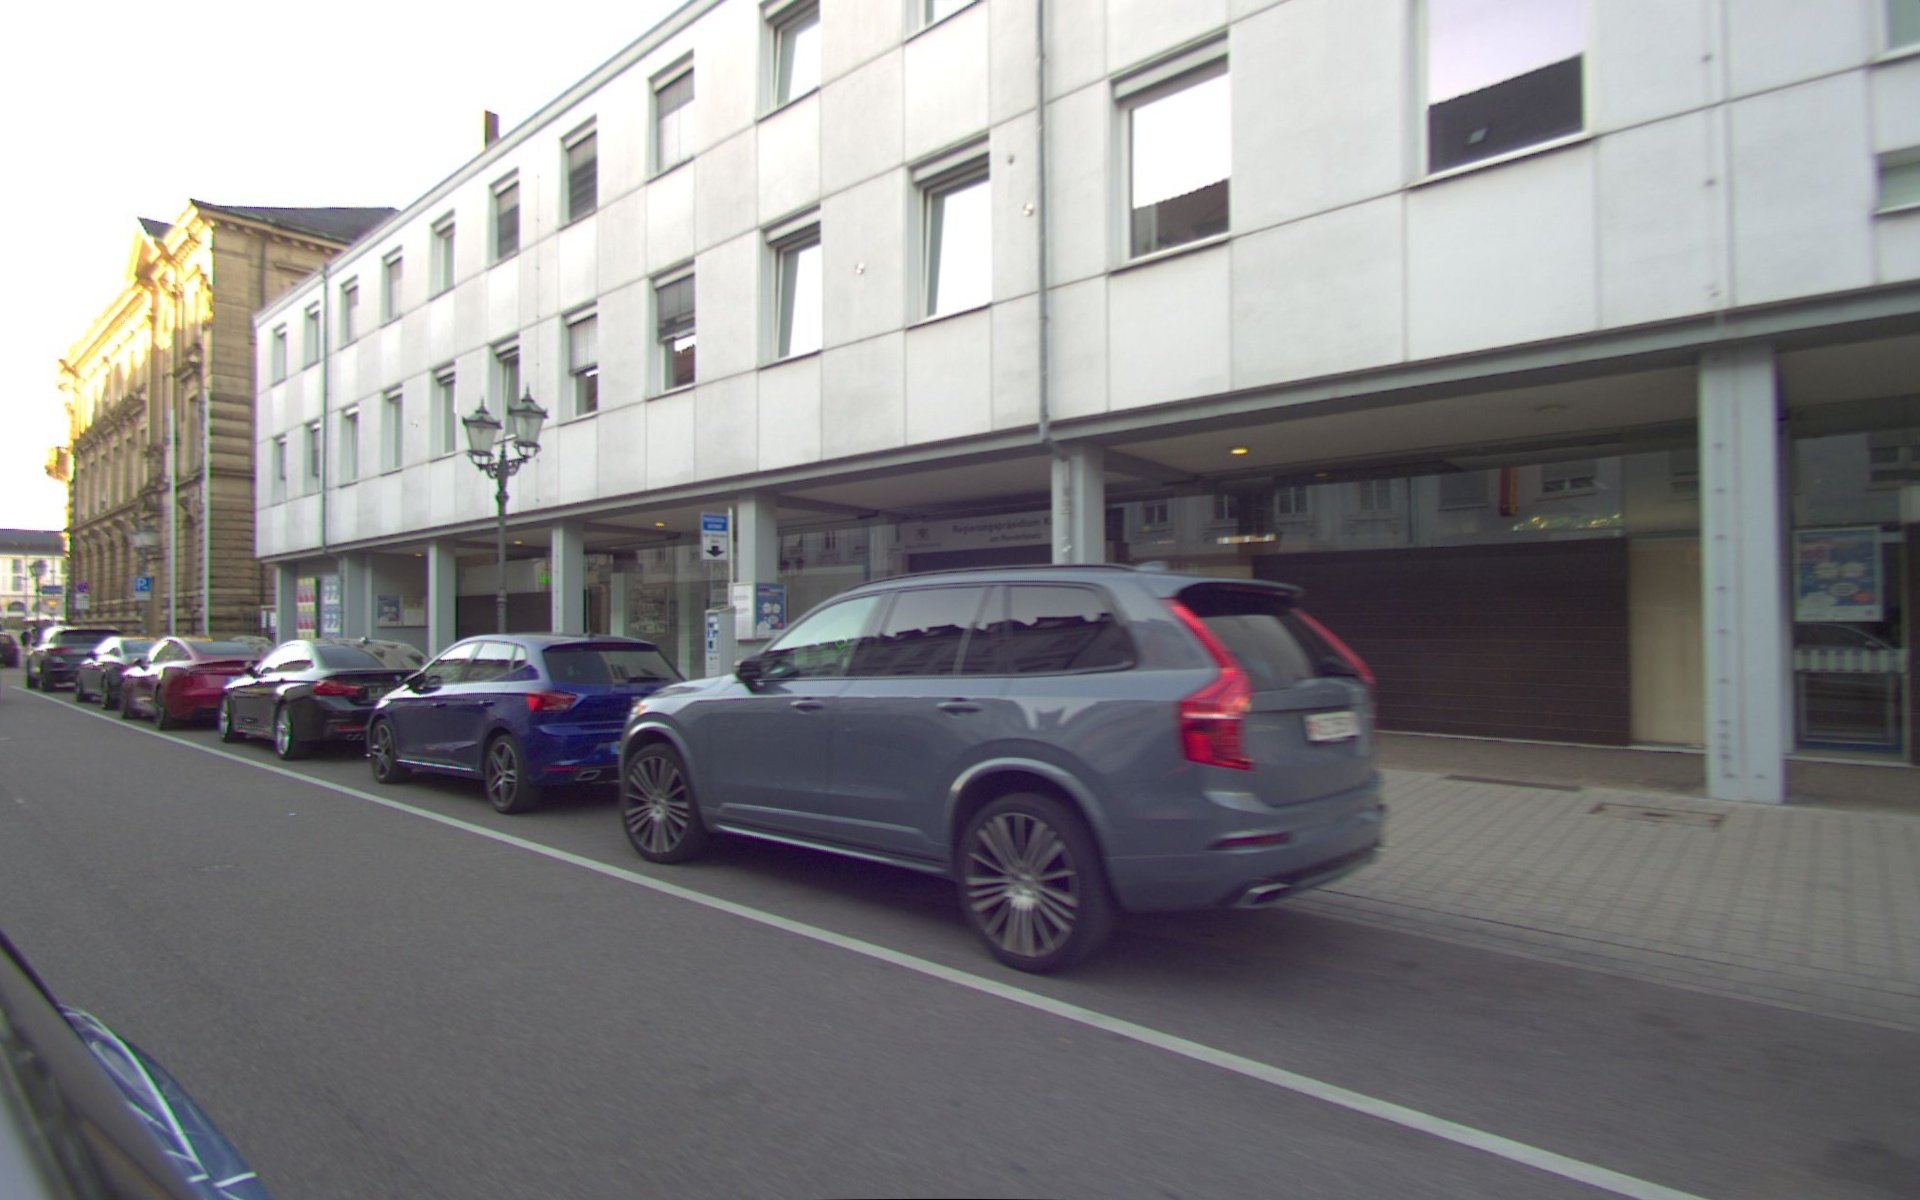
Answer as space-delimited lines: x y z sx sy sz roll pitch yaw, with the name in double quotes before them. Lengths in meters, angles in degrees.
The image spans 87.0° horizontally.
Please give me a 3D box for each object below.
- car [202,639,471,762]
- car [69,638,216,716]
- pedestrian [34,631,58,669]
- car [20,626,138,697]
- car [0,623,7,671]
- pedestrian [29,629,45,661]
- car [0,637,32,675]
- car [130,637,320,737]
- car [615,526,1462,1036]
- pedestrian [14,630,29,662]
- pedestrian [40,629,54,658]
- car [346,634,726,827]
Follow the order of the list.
"car" -8.325 1.216 13.396 3.999 1.364 1.972 -2 -3 42
"car" -16.930 1.511 20.893 4.088 1.419 1.766 -2 -2 43
"pedestrian" -43.576 2.375 48.259 0.896 1.743 0.706 -2 1 43
"car" -21.994 1.480 25.218 4.165 1.627 1.766 -2 -2 43
"car" -45.343 2.120 46.351 4.987 2.093 1.973 -1 -1 41
"pedestrian" -52.528 2.557 57.597 0.703 1.743 0.600 -2 -2 43
"car" -40.253 2.297 42.160 4.163 1.506 1.972 -2 -2 42
"car" -12.224 1.343 16.733 4.088 1.419 1.766 -2 -2 43
"car" 0.118 0.702 5.734 4.514 1.741 1.972 -2 -3 42
"pedestrian" -52.959 2.595 57.105 0.831 1.743 0.576 -2 -2 43
"pedestrian" -55.264 2.648 61.232 0.744 1.743 0.567 -2 -2 43
"car" -4.060 1.029 9.394 3.998 1.411 1.656 -2 -3 41
